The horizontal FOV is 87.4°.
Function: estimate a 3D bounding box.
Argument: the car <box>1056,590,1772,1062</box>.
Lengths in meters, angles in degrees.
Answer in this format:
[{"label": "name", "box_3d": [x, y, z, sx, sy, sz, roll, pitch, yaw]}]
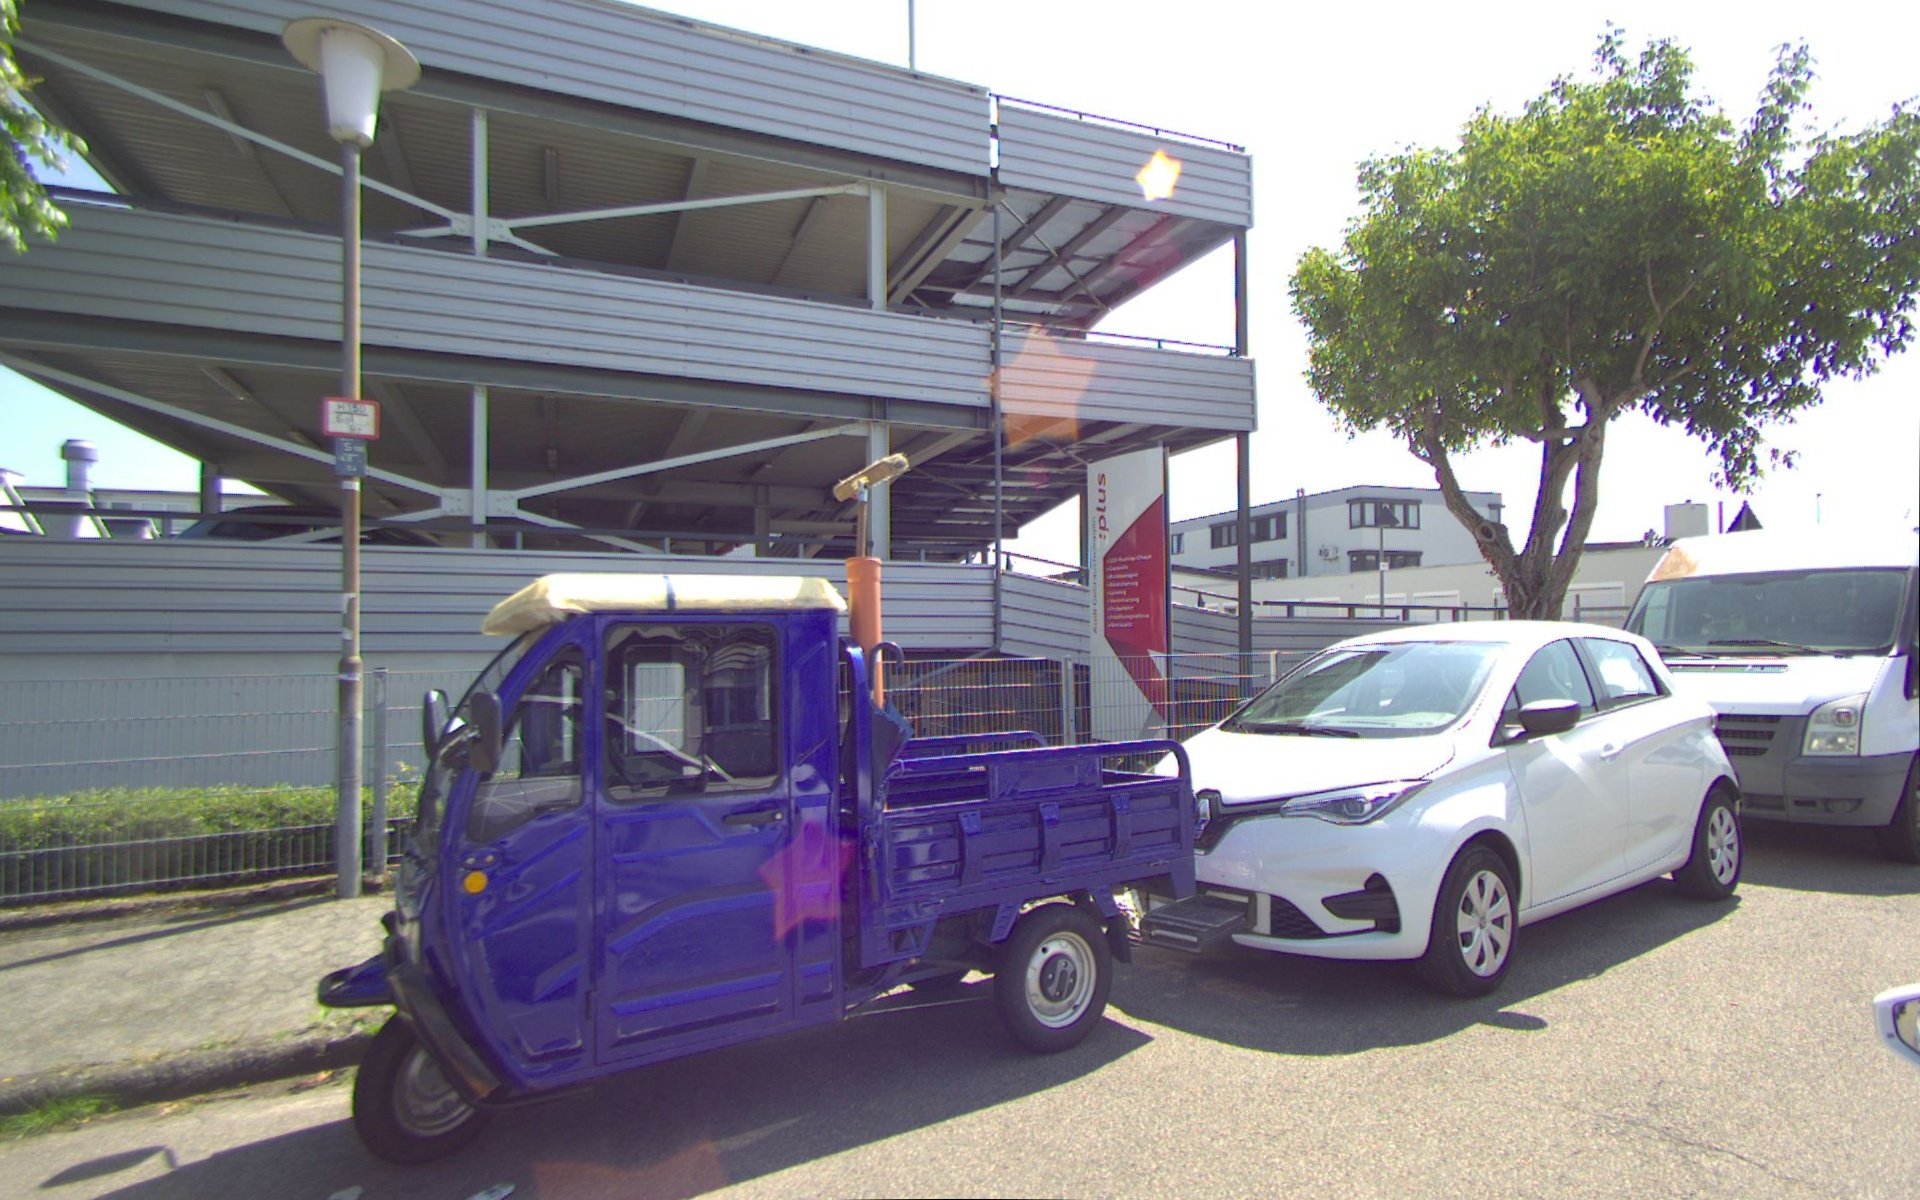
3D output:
[{"label": "car", "box_3d": [2.577, 0.881, 5.388, 3.934, 1.645, 1.694, 1, -5, -35]}]

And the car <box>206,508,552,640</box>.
[{"label": "car", "box_3d": [-8.290, -0.327, 14.574, 3.920, 1.693, 1.819, 2, -2, 3]}]

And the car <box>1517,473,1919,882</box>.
[{"label": "car", "box_3d": [6.968, 0.525, 8.136, 5.172, 2.397, 1.995, 0, -4, -33]}]

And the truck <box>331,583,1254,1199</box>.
[{"label": "truck", "box_3d": [-0.457, 0.833, 3.662, 3.107, 1.643, 1.132, 0, -4, -33]}]

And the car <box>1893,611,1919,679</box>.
[{"label": "car", "box_3d": [23.538, 1.001, 23.342, 3.634, 1.550, 1.805, 0, -3, -32]}]

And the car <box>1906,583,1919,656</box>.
[{"label": "car", "box_3d": [35.241, 0.611, 34.213, 1.757, 2.546, 4.064, 0, -2, -32]}]
